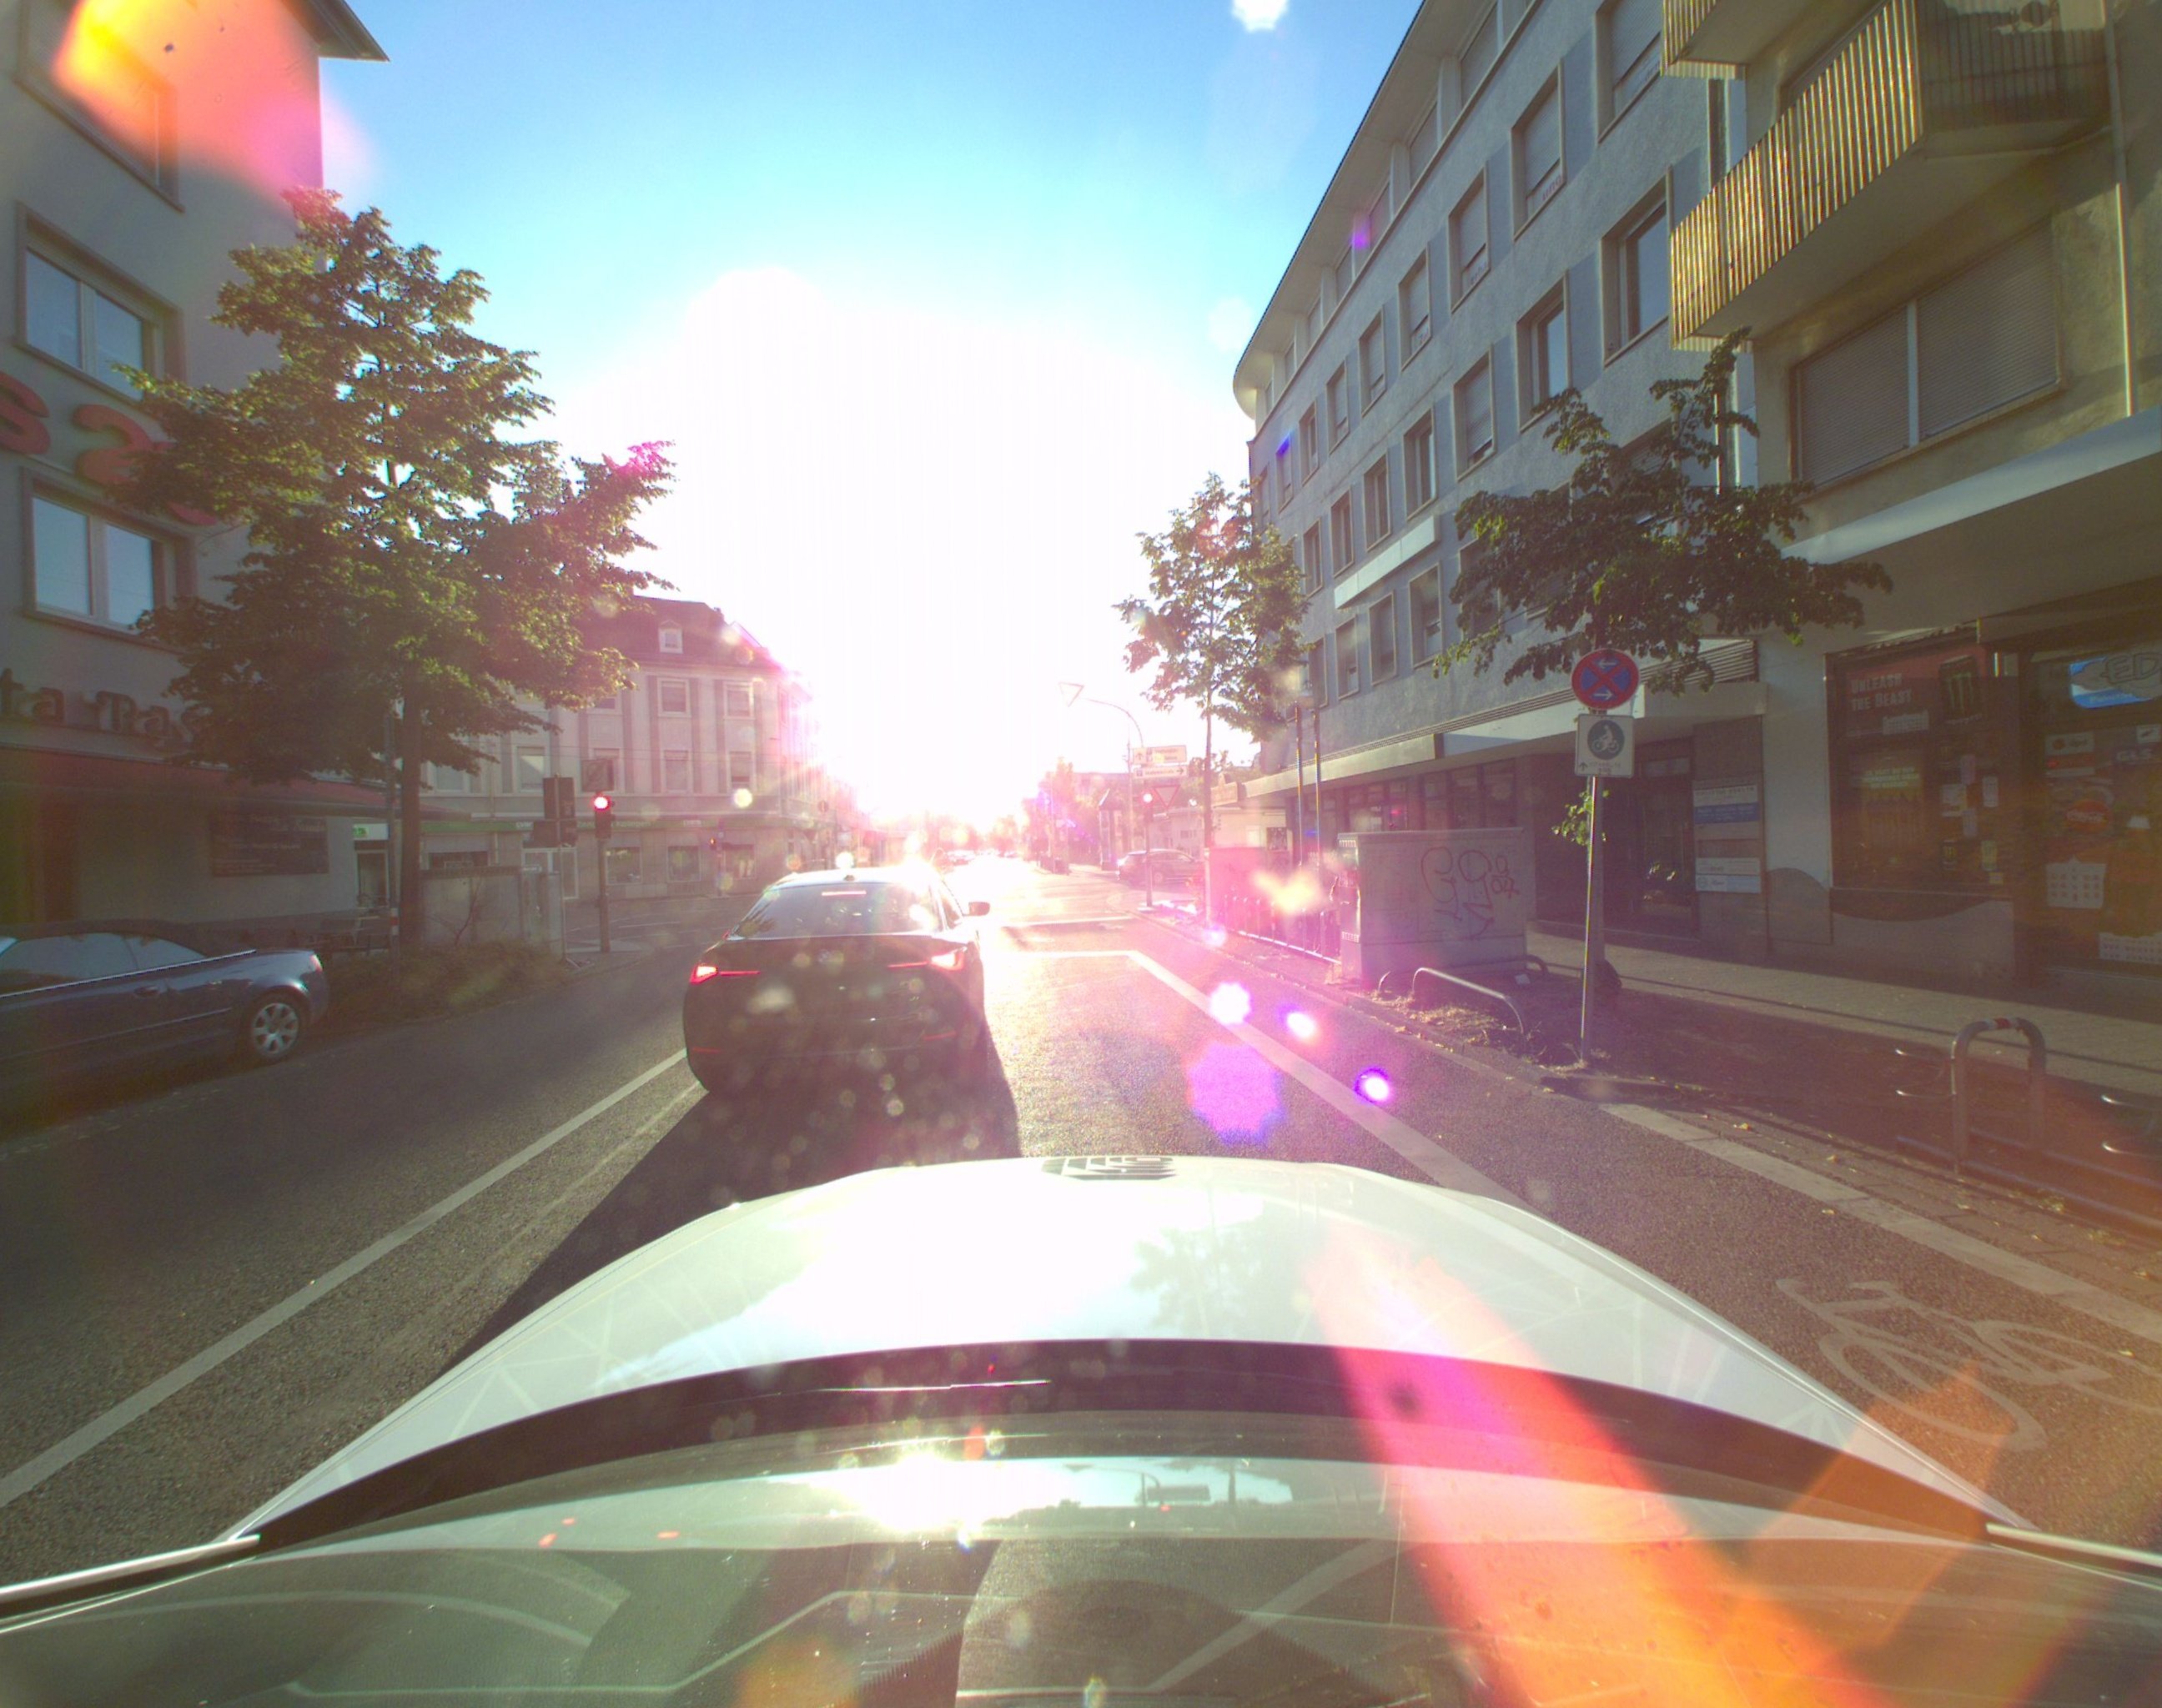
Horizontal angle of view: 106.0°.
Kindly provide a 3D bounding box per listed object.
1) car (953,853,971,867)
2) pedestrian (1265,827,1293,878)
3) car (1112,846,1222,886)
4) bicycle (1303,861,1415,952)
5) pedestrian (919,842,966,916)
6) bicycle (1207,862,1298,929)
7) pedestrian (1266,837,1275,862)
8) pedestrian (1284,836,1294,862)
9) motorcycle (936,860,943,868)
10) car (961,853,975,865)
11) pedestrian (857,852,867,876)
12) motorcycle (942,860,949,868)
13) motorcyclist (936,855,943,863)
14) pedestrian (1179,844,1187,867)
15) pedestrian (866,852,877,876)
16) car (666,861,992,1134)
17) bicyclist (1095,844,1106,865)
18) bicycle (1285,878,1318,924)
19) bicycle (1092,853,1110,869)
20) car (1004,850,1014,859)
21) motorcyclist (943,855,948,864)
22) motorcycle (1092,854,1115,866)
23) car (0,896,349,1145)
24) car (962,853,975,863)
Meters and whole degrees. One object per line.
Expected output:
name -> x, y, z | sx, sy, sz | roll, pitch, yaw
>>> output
car -> -13.869, 0.704, 95.153 | 1.816, 1.519, 3.992 | -2, 0, -6
pedestrian -> 7.327, -0.062, 30.069 | 0.828, 1.841, 0.683 | -2, 0, 24
car -> 3.645, 0.485, 34.255 | 4.436, 1.473, 1.799 | -2, 1, -32
bicycle -> 3.859, 0.718, 11.341 | 1.438, 1.220, 0.383 | 0, 0, -5
pedestrian -> -3.625, 0.630, 21.303 | 1.006, 1.860, 0.634 | -3, 0, -27
bicycle -> 3.200, 0.760, 15.201 | 1.610, 1.171, 0.318 | -2, 0, -5
pedestrian -> 13.334, -0.340, 57.276 | 0.445, 1.734, 0.429 | 0, 0, -31
pedestrian -> 14.450, -0.349, 56.603 | 0.481, 1.734, 0.526 | 0, 0, -31
motorcycle -> -16.474, 1.148, 94.723 | 0.574, 0.915, 2.196 | 0, 0, -6
car -> -15.720, 0.645, 113.570 | 1.816, 1.519, 3.992 | -2, 0, -6
pedestrian -> -16.917, 0.772, 62.939 | 0.642, 1.876, 0.630 | 0, 0, -7
motorcycle -> -15.681, 1.141, 94.310 | 0.574, 0.915, 2.196 | 0, 0, -6
motorcyclist -> -16.478, 0.616, 94.747 | 0.574, 0.915, 2.196 | 0, 0, -6
pedestrian -> 6.778, 0.111, 54.140 | 0.469, 1.529, 0.736 | 0, 0, 4
pedestrian -> -16.369, 0.767, 63.642 | 0.619, 1.876, 0.672 | 0, 0, -30
car -> -1.646, 0.800, 6.646 | 1.735, 1.428, 4.213 | -1, 0, -7
bicyclist -> 1.402, 0.019, 59.255 | 0.552, 1.481, 0.717 | -1, -1, -21
bicycle -> 4.153, 0.874, 15.392 | 0.249, 0.796, 1.114 | 0, 0, -4
bicycle -> 1.446, 0.515, 59.158 | 0.552, 1.159, 2.129 | -1, -1, -20
car -> -14.612, 0.079, 165.631 | 1.769, 1.848, 3.993 | -2, 0, -5
motorcyclist -> -15.680, 0.610, 94.212 | 0.574, 0.995, 0.701 | 0, 0, -6
motorcycle -> 1.886, 0.507, 68.052 | 1.673, 0.939, 0.851 | -2, 0, -18
car -> -7.640, 1.158, 5.538 | 1.721, 1.415, 4.270 | -4, 0, -7
car -> -17.863, 0.626, 129.168 | 1.816, 1.519, 3.992 | -2, 0, -6
